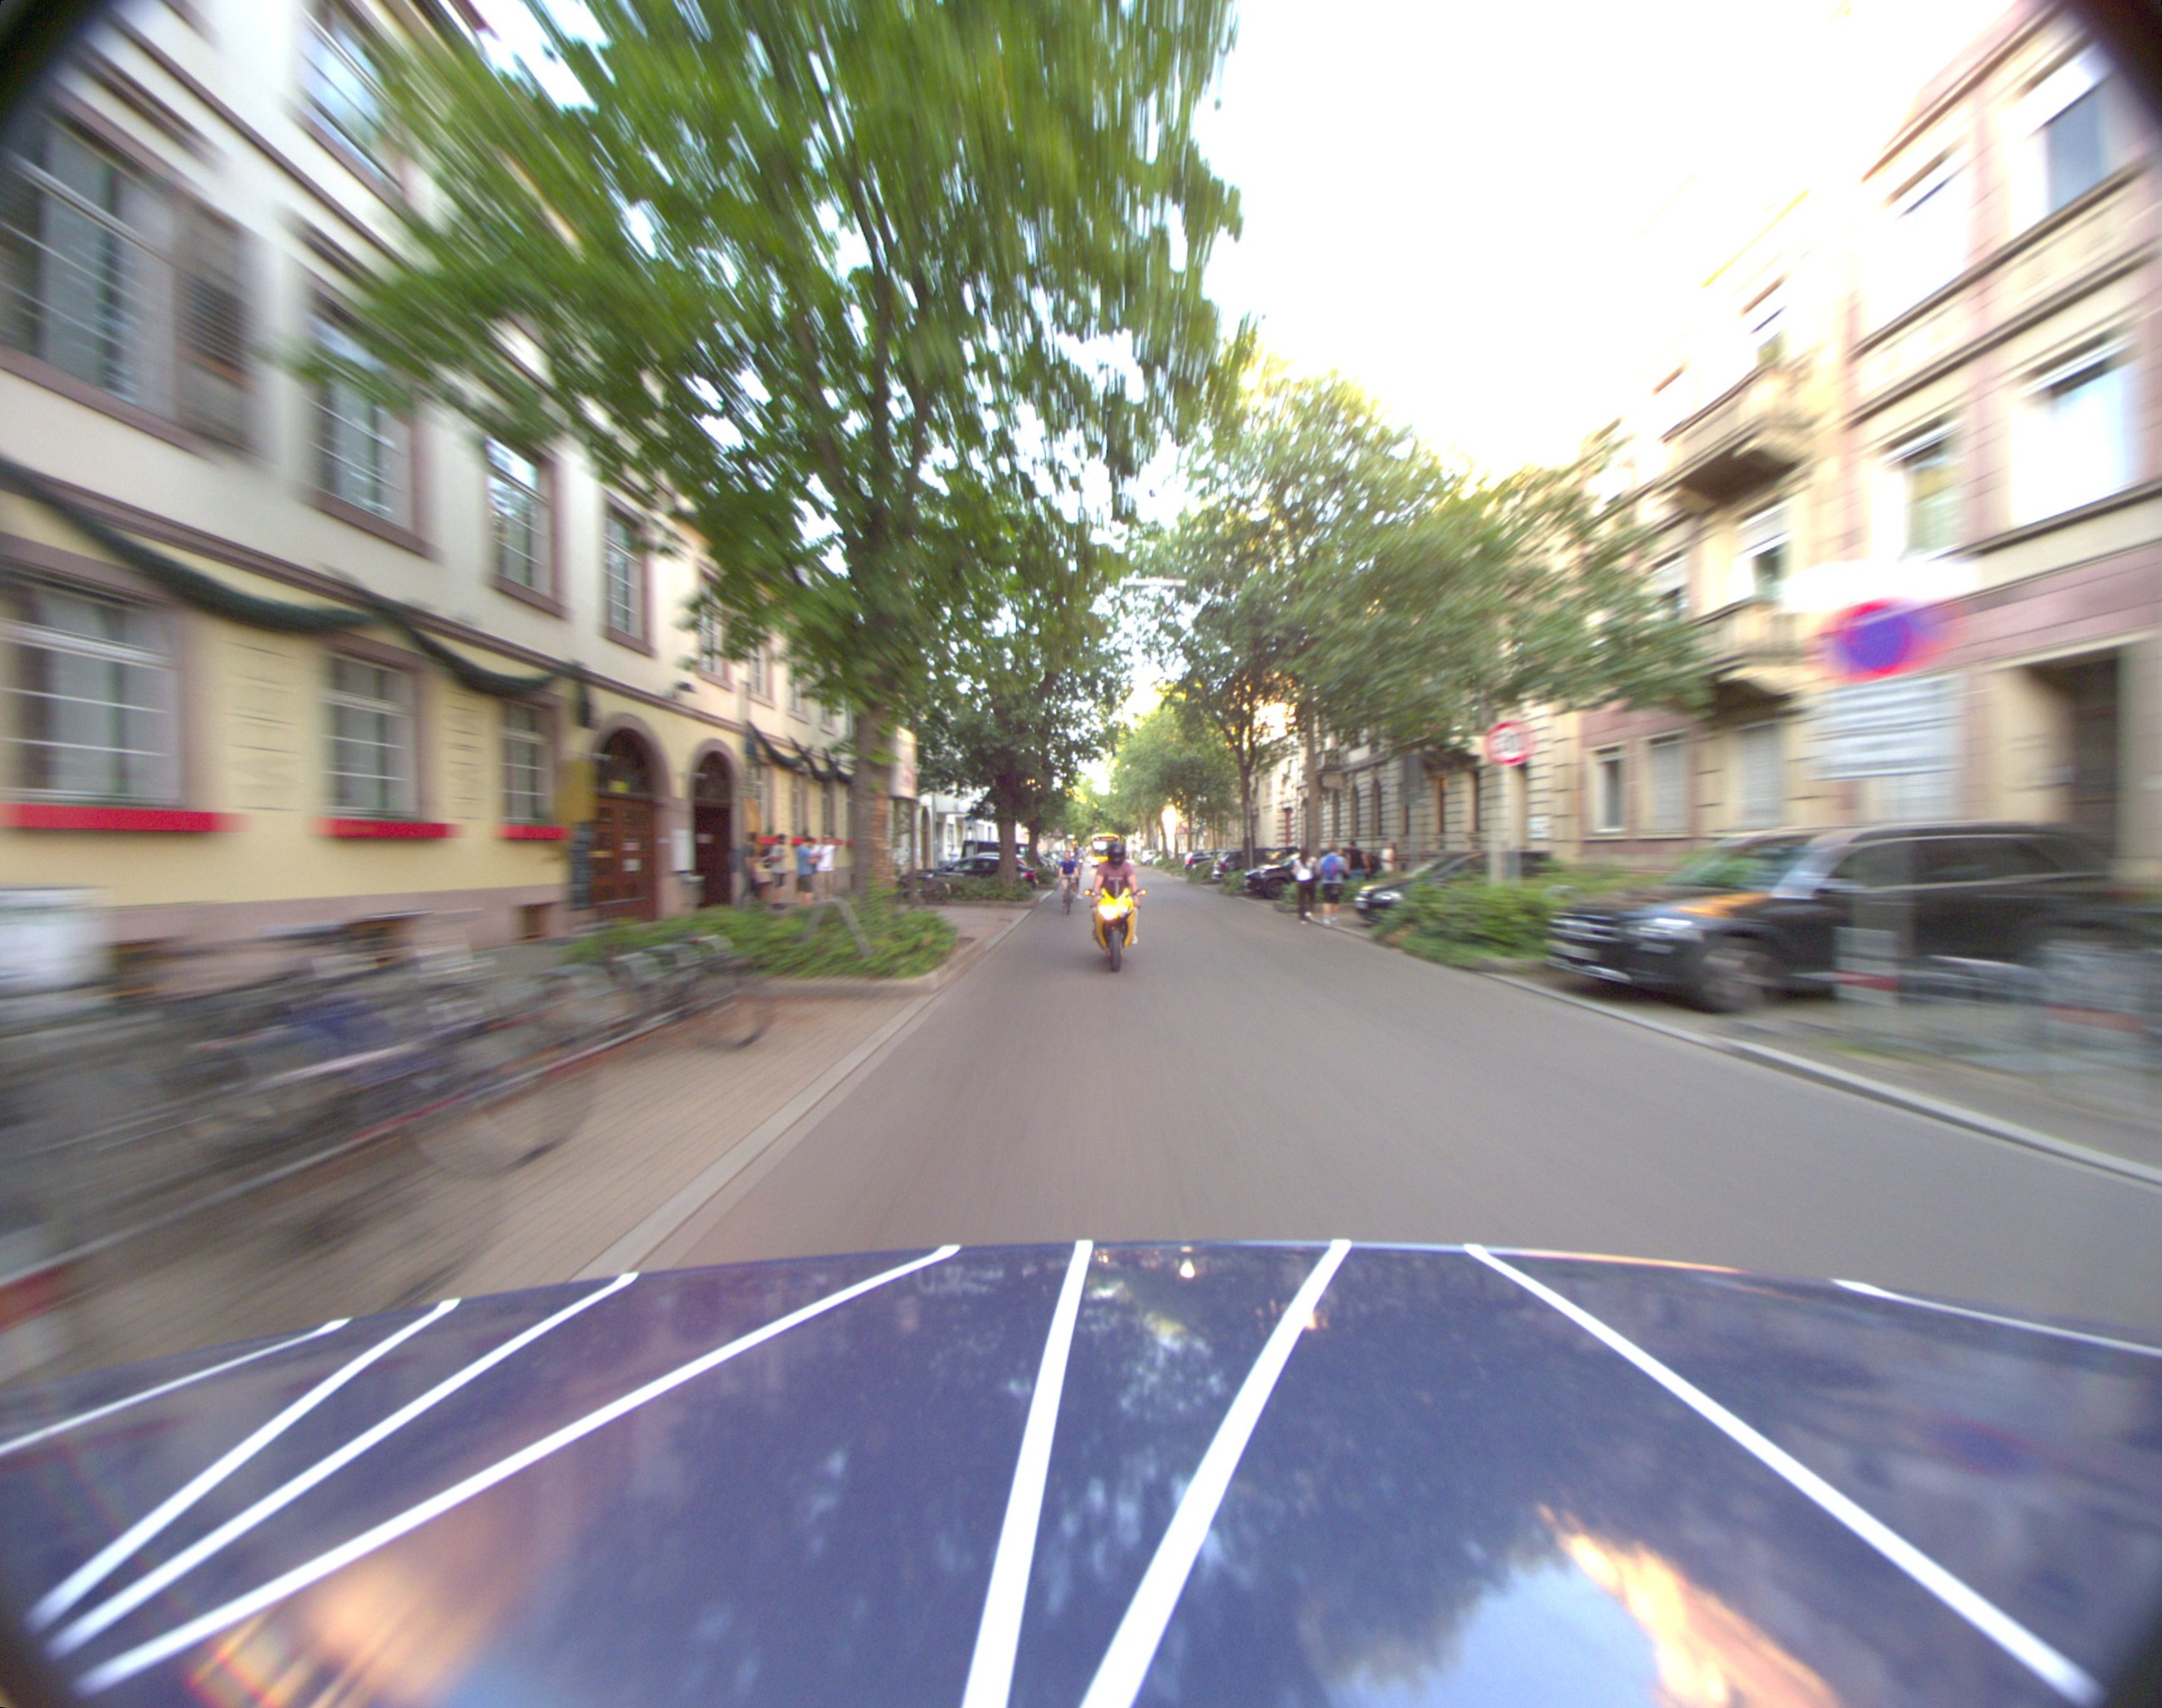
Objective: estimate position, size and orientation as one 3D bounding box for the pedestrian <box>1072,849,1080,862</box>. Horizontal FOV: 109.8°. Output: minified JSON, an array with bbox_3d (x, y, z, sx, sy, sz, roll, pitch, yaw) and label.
[{"bbox_3d":[-0.614,0.210,89.584,0.600,1.502,0.719,1,1,-28],"label":"pedestrian"}]

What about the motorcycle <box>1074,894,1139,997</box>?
[{"bbox_3d":[0.343,1.107,9.714,0.737,1.053,1.964,-1,1,3],"label":"motorcycle"}]

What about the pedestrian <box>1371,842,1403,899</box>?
[{"bbox_3d":[9.351,0.497,23.251,0.736,1.729,0.671,-2,1,8],"label":"pedestrian"}]

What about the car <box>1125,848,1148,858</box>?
[{"bbox_3d":[10.412,-0.194,143.163,3.999,1.940,1.999,-1,0,-7],"label":"car"}]

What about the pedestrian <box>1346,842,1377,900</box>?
[{"bbox_3d":[8.485,0.512,23.000,0.736,1.729,0.671,-2,1,8],"label":"pedestrian"}]

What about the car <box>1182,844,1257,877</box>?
[{"bbox_3d":[7.993,0.358,44.062,3.975,1.587,1.780,-5,1,1],"label":"car"}]

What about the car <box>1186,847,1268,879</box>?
[{"bbox_3d":[7.729,0.474,40.552,3.974,1.379,1.765,-4,0,2],"label":"car"}]

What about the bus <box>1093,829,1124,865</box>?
[{"bbox_3d":[2.561,-0.658,74.860,2.668,3.176,11.898,-2,0,1],"label":"bus"}]

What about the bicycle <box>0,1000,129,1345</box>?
[{"bbox_3d":[-4.565,1.106,2.619,1.799,1.101,0.500,0,1,-4],"label":"bicycle"}]

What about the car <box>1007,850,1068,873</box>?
[{"bbox_3d":[-3.052,0.532,53.729,4.083,1.421,1.818,3,1,3],"label":"car"}]

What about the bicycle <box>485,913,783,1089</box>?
[{"bbox_3d":[-3.279,1.063,5.691,1.834,1.172,0.673,0,1,0],"label":"bicycle"}]

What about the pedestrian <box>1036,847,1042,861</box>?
[{"bbox_3d":[-5.491,-0.036,99.819,0.699,1.844,1.049,0,0,-2],"label":"pedestrian"}]

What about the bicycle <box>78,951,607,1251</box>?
[{"bbox_3d":[-3.282,1.075,3.486,1.834,1.172,0.600,0,1,0],"label":"bicycle"}]

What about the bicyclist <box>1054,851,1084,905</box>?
[{"bbox_3d":[-0.307,0.609,19.874,0.674,1.355,0.776,-2,1,1],"label":"bicyclist"}]

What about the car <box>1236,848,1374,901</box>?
[{"bbox_3d":[7.200,0.640,24.755,3.954,1.523,1.907,-2,1,3],"label":"car"}]

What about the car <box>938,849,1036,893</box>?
[{"bbox_3d":[-3.781,0.659,31.022,3.689,1.569,1.714,3,1,2],"label":"car"}]

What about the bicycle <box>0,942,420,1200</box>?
[{"bbox_3d":[-4.711,1.079,3.992,1.800,1.136,0.651,0,1,-7],"label":"bicycle"}]

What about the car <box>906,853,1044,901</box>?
[{"bbox_3d":[-3.536,0.754,25.905,4.412,1.386,1.885,3,1,-1],"label":"car"}]

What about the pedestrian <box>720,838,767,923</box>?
[{"bbox_3d":[-7.054,0.557,15.916,0.779,1.728,0.683,1,0,-15],"label":"pedestrian"}]

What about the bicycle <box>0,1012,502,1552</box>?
[{"bbox_3d":[-2.887,1.112,2.150,1.843,1.129,0.744,0,1,-9],"label":"bicycle"}]

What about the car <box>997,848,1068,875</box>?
[{"bbox_3d":[-3.260,0.475,51.341,4.602,1.569,1.944,3,1,0],"label":"car"}]

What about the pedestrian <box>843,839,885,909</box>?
[{"bbox_3d":[-5.558,0.508,19.446,0.706,1.728,0.727,1,0,21],"label":"pedestrian"}]

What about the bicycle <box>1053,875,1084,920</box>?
[{"bbox_3d":[-0.296,1.089,19.585,0.674,1.024,1.977,-2,0,1],"label":"bicycle"}]

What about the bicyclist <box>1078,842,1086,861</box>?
[{"bbox_3d":[0.091,-0.223,63.602,0.637,1.552,0.818,-3,0,-1],"label":"bicyclist"}]

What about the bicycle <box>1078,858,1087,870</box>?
[{"bbox_3d":[0.134,0.836,63.617,0.637,0.977,1.981,-3,0,0],"label":"bicycle"}]

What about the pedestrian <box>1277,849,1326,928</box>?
[{"bbox_3d":[4.758,0.714,16.362,0.795,1.661,0.833,1,1,33],"label":"pedestrian"}]

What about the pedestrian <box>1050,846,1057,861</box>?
[{"bbox_3d":[-3.262,-0.092,89.172,0.574,1.764,0.546,2,1,39],"label":"pedestrian"}]

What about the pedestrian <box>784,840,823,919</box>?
[{"bbox_3d":[-6.202,0.565,16.999,0.616,1.728,0.623,1,0,1],"label":"pedestrian"}]

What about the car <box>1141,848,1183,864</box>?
[{"bbox_3d":[8.192,0.193,76.890,4.180,1.548,1.827,-1,1,4],"label":"car"}]

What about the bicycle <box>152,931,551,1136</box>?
[{"bbox_3d":[-4.505,1.083,4.806,1.799,1.122,0.664,0,1,-5],"label":"bicycle"}]

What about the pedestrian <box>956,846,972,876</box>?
[{"bbox_3d":[-6.325,0.393,41.181,0.670,1.589,0.737,-2,1,1],"label":"pedestrian"}]

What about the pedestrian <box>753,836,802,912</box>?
[{"bbox_3d":[-7.156,0.466,17.946,0.725,1.728,0.746,1,0,28],"label":"pedestrian"}]

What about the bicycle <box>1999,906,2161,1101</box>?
[{"bbox_3d":[6.657,0.933,4.351,0.523,1.053,1.861,-4,2,-1],"label":"bicycle"}]

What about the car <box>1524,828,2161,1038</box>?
[{"bbox_3d":[7.142,0.687,7.445,4.436,1.641,1.873,-2,0,2],"label":"car"}]

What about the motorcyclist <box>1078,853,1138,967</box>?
[{"bbox_3d":[0.349,0.700,9.814,0.737,1.404,0.726,-1,1,3],"label":"motorcyclist"}]

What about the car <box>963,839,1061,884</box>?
[{"bbox_3d":[-3.428,0.360,38.433,4.701,1.999,2.037,3,1,0],"label":"car"}]

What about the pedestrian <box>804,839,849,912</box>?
[{"bbox_3d":[-6.227,0.525,18.602,0.712,1.728,0.749,1,0,21],"label":"pedestrian"}]

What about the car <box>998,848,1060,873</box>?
[{"bbox_3d":[-3.282,0.413,48.557,3.802,1.415,1.697,3,1,0],"label":"car"}]

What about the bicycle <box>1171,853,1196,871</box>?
[{"bbox_3d":[7.479,0.570,55.321,1.775,1.225,0.500,-1,2,6],"label":"bicycle"}]

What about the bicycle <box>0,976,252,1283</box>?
[{"bbox_3d":[-4.658,1.101,3.140,1.799,1.101,0.500,0,1,-4],"label":"bicycle"}]

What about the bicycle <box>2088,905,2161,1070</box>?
[{"bbox_3d":[7.272,0.909,4.369,0.523,1.013,1.861,-4,2,1],"label":"bicycle"}]

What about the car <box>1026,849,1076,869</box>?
[{"bbox_3d":[-2.519,0.401,65.037,4.119,1.608,1.961,-1,1,2],"label":"car"}]

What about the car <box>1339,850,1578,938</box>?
[{"bbox_3d":[7.237,0.739,14.860,3.701,1.450,1.872,-2,0,1],"label":"car"}]

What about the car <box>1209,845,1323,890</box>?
[{"bbox_3d":[7.582,0.548,31.462,4.211,1.662,1.908,-2,0,1],"label":"car"}]

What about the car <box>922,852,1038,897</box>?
[{"bbox_3d":[-3.705,0.737,28.387,3.997,1.429,1.926,3,1,0],"label":"car"}]

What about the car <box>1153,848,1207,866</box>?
[{"bbox_3d":[8.612,0.251,66.564,4.524,1.382,1.916,-1,1,2],"label":"car"}]

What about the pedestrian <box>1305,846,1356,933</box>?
[{"bbox_3d":[5.128,0.698,15.583,0.795,1.727,0.833,1,1,33],"label":"pedestrian"}]

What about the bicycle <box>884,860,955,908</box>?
[{"bbox_3d":[-4.332,0.805,20.446,1.800,1.226,0.673,2,1,-8],"label":"bicycle"}]

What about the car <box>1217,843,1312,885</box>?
[{"bbox_3d":[8.168,0.445,34.023,3.810,1.662,1.714,-2,0,0],"label":"car"}]
